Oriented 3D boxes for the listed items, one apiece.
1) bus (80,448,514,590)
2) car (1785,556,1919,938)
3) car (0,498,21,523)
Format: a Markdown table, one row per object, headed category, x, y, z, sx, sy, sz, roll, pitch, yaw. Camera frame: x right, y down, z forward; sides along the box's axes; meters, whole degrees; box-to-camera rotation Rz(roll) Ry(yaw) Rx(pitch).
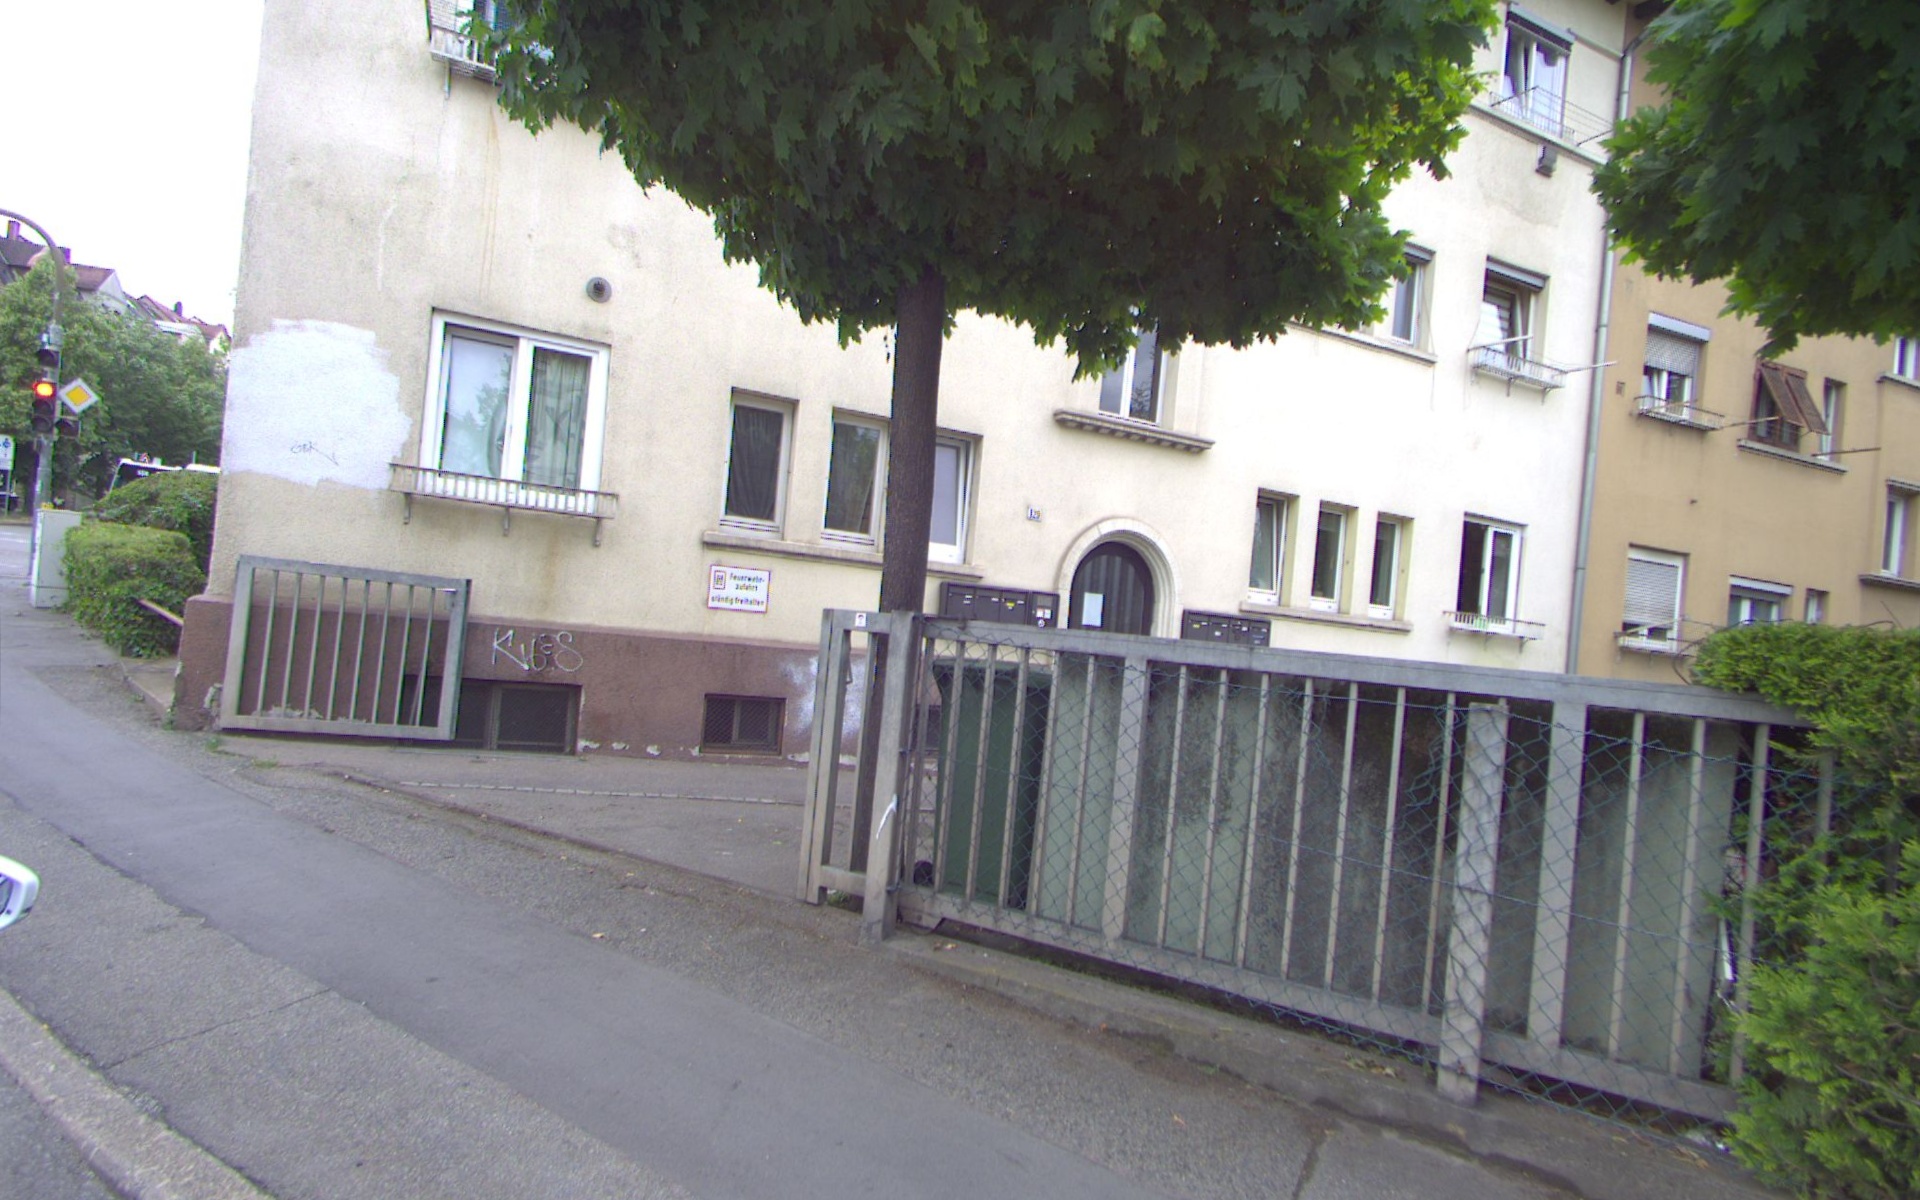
| category | x | y | z | sx | sy | sz | roll | pitch | yaw |
| --- | --- | --- | --- | --- | --- | --- | --- | --- | --- |
| bus | -21.910 | -2.569 | 33.952 | 11.935 | 3.135 | 3.164 | 6 | 0 | -6 |
| car | 5.535 | 0.789 | 3.788 | 3.381 | 1.477 | 1.700 | 6 | -2 | 30 |
| car | -59.714 | -5.679 | 61.111 | 1.848 | 1.432 | 4.684 | 8 | -2 | -17 |
